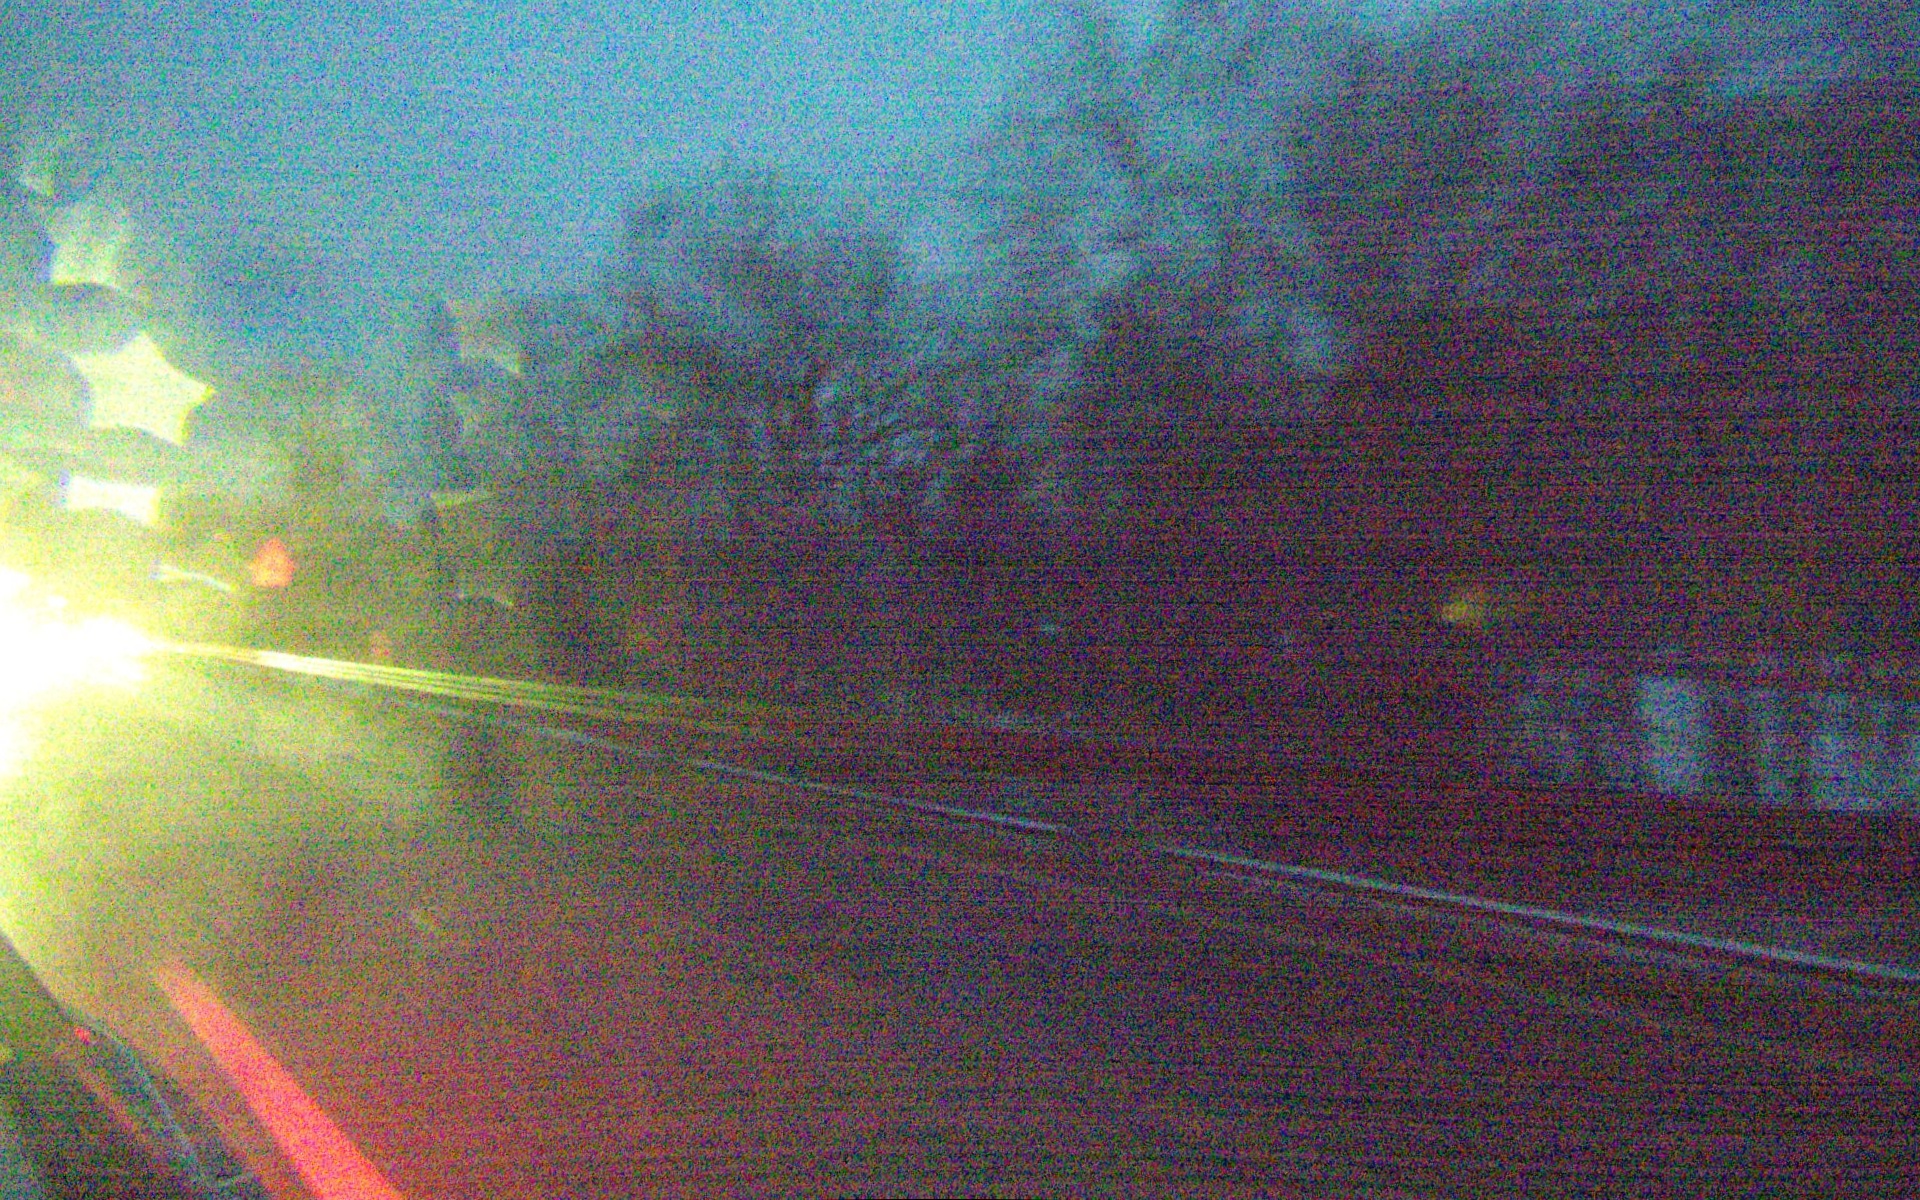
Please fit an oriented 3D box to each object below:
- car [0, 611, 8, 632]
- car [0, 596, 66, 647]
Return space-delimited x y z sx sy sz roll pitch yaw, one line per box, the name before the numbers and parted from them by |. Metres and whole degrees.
car | -69.497 1.553 72.257 3.217 1.495 1.972 0 1 43
car | -34.543 0.750 37.313 4.258 1.763 1.972 0 1 43
